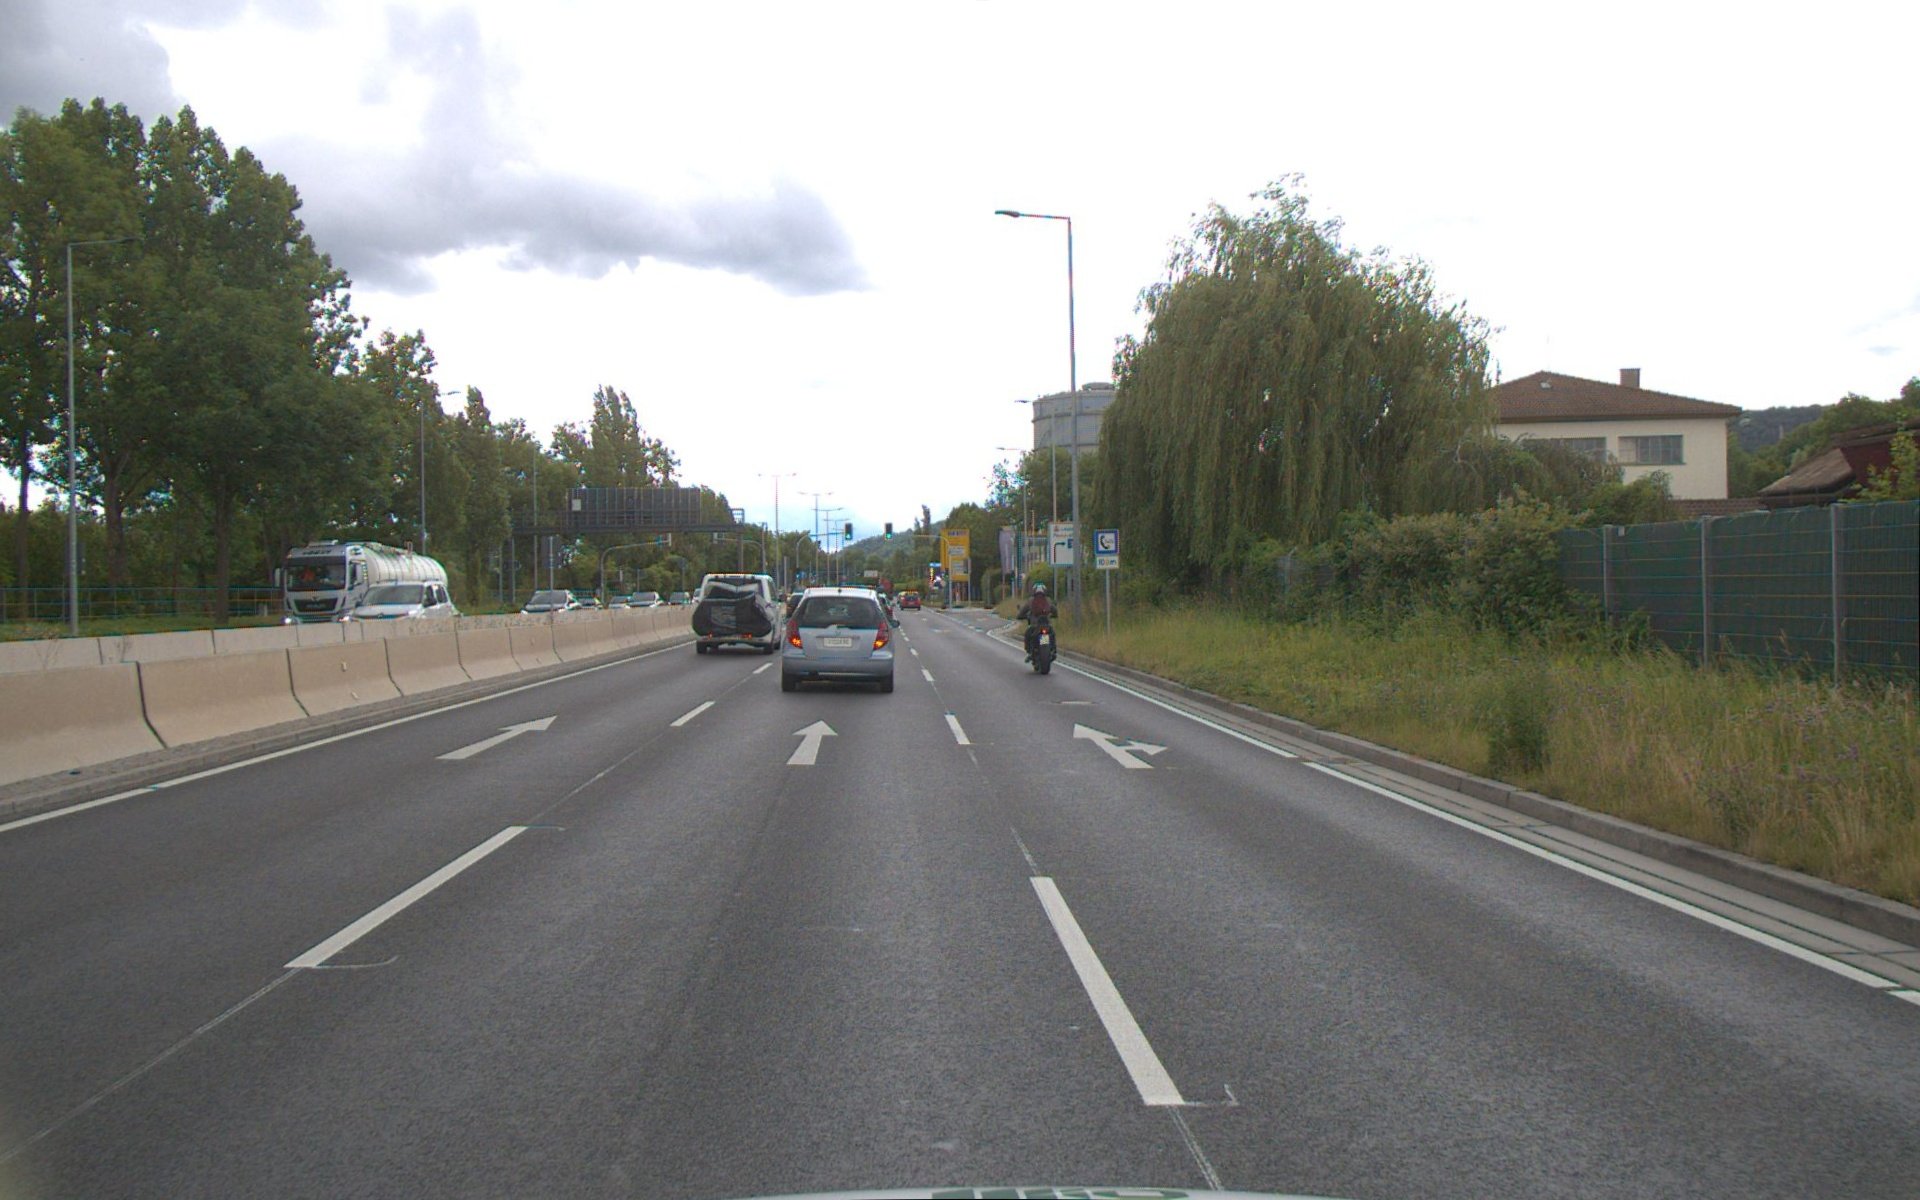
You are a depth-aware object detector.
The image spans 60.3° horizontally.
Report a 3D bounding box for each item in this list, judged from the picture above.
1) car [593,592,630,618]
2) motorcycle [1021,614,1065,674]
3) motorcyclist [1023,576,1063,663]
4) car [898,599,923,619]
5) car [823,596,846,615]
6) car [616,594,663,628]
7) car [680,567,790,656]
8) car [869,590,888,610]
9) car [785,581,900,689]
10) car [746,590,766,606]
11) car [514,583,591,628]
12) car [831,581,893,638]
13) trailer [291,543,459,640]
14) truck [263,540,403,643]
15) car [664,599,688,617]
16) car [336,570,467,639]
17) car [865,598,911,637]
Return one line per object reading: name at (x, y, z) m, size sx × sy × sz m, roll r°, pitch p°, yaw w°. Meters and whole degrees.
car at (-25.483, 0.364, 121.176) m, size 1.953 × 1.769 × 3.998 m, roll 2°, pitch 0°, yaw -2°
motorcycle at (1.584, 0.831, 31.752) m, size 0.692 × 1.058 × 2.026 m, roll 2°, pitch 0°, yaw -1°
motorcyclist at (1.590, 0.371, 31.810) m, size 0.671 × 1.638 × 0.845 m, roll 1°, pitch 0°, yaw -1°
car at (-4.174, 0.719, 138.856) m, size 1.954 × 1.579 × 3.997 m, roll 2°, pitch 0°, yaw -4°
car at (-11.138, 0.498, 147.303) m, size 1.954 × 1.579 × 3.997 m, roll 2°, pitch 0°, yaw -4°
car at (-17.795, 0.582, 91.964) m, size 1.953 × 1.769 × 3.998 m, roll 2°, pitch 0°, yaw -2°
car at (-5.386, 0.238, 40.170) m, size 2.170 × 1.959 × 4.999 m, roll 2°, pitch 0°, yaw -3°
car at (-8.940, -0.035, 181.128) m, size 1.953 × 2.049 × 3.998 m, roll 2°, pitch 0°, yaw -2°
car at (-1.856, 0.507, 26.668) m, size 1.676 × 1.556 × 3.998 m, roll 2°, pitch 0°, yaw -3°
car at (-22.410, -0.234, 181.746) m, size 1.840 × 1.712 × 4.124 m, roll 2°, pitch 0°, yaw -3°
car at (-15.655, 0.190, 63.777) m, size 1.953 × 1.646 × 4.695 m, roll 2°, pitch 0°, yaw -2°
car at (-3.162, 0.284, 53.956) m, size 1.869 × 1.713 × 3.998 m, roll 2°, pitch 0°, yaw -2°
trailer at (-21.911, -0.344, 62.793) m, size 3.040 × 3.276 × 11.657 m, roll 2°, pitch 0°, yaw -5°
truck at (-21.415, -0.307, 56.789) m, size 3.037 × 3.275 × 5.386 m, roll 2°, pitch 0°, yaw -5°
car at (-27.434, 0.775, 159.890) m, size 1.840 × 1.712 × 3.925 m, roll 2°, pitch 0°, yaw -3°
car at (-14.585, 0.094, 43.473) m, size 1.953 × 1.646 × 4.695 m, roll 2°, pitch 0°, yaw -2°
car at (-2.992, 0.710, 68.442) m, size 1.803 × 1.489 × 3.998 m, roll 2°, pitch 0°, yaw -3°
